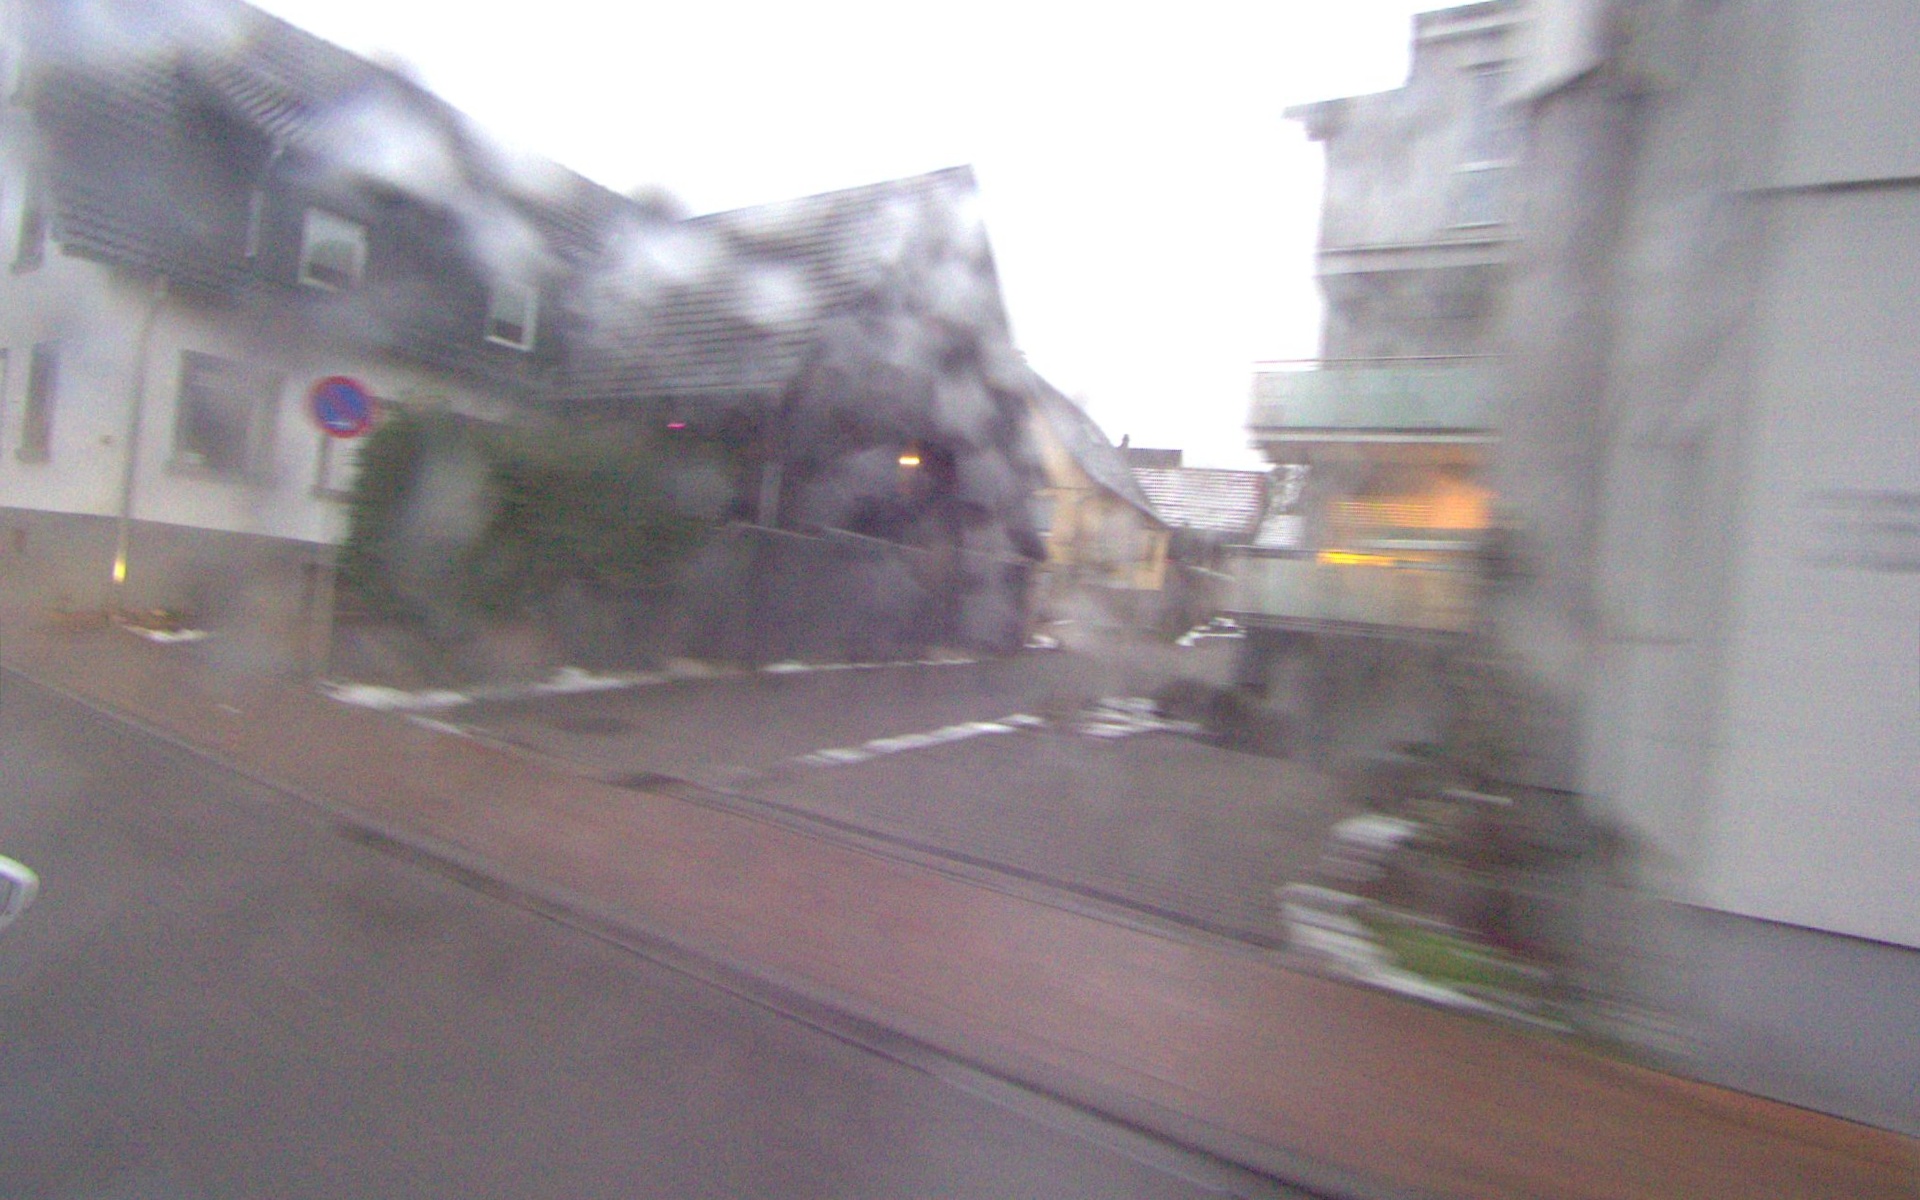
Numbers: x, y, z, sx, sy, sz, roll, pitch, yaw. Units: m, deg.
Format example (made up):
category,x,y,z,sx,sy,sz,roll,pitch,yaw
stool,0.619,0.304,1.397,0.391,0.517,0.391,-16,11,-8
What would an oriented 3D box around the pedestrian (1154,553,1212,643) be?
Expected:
category,x,y,z,sx,sy,sz,roll,pitch,yaw
pedestrian,6.173,-0.066,27.857,1.214,2.327,0.997,6,3,22
